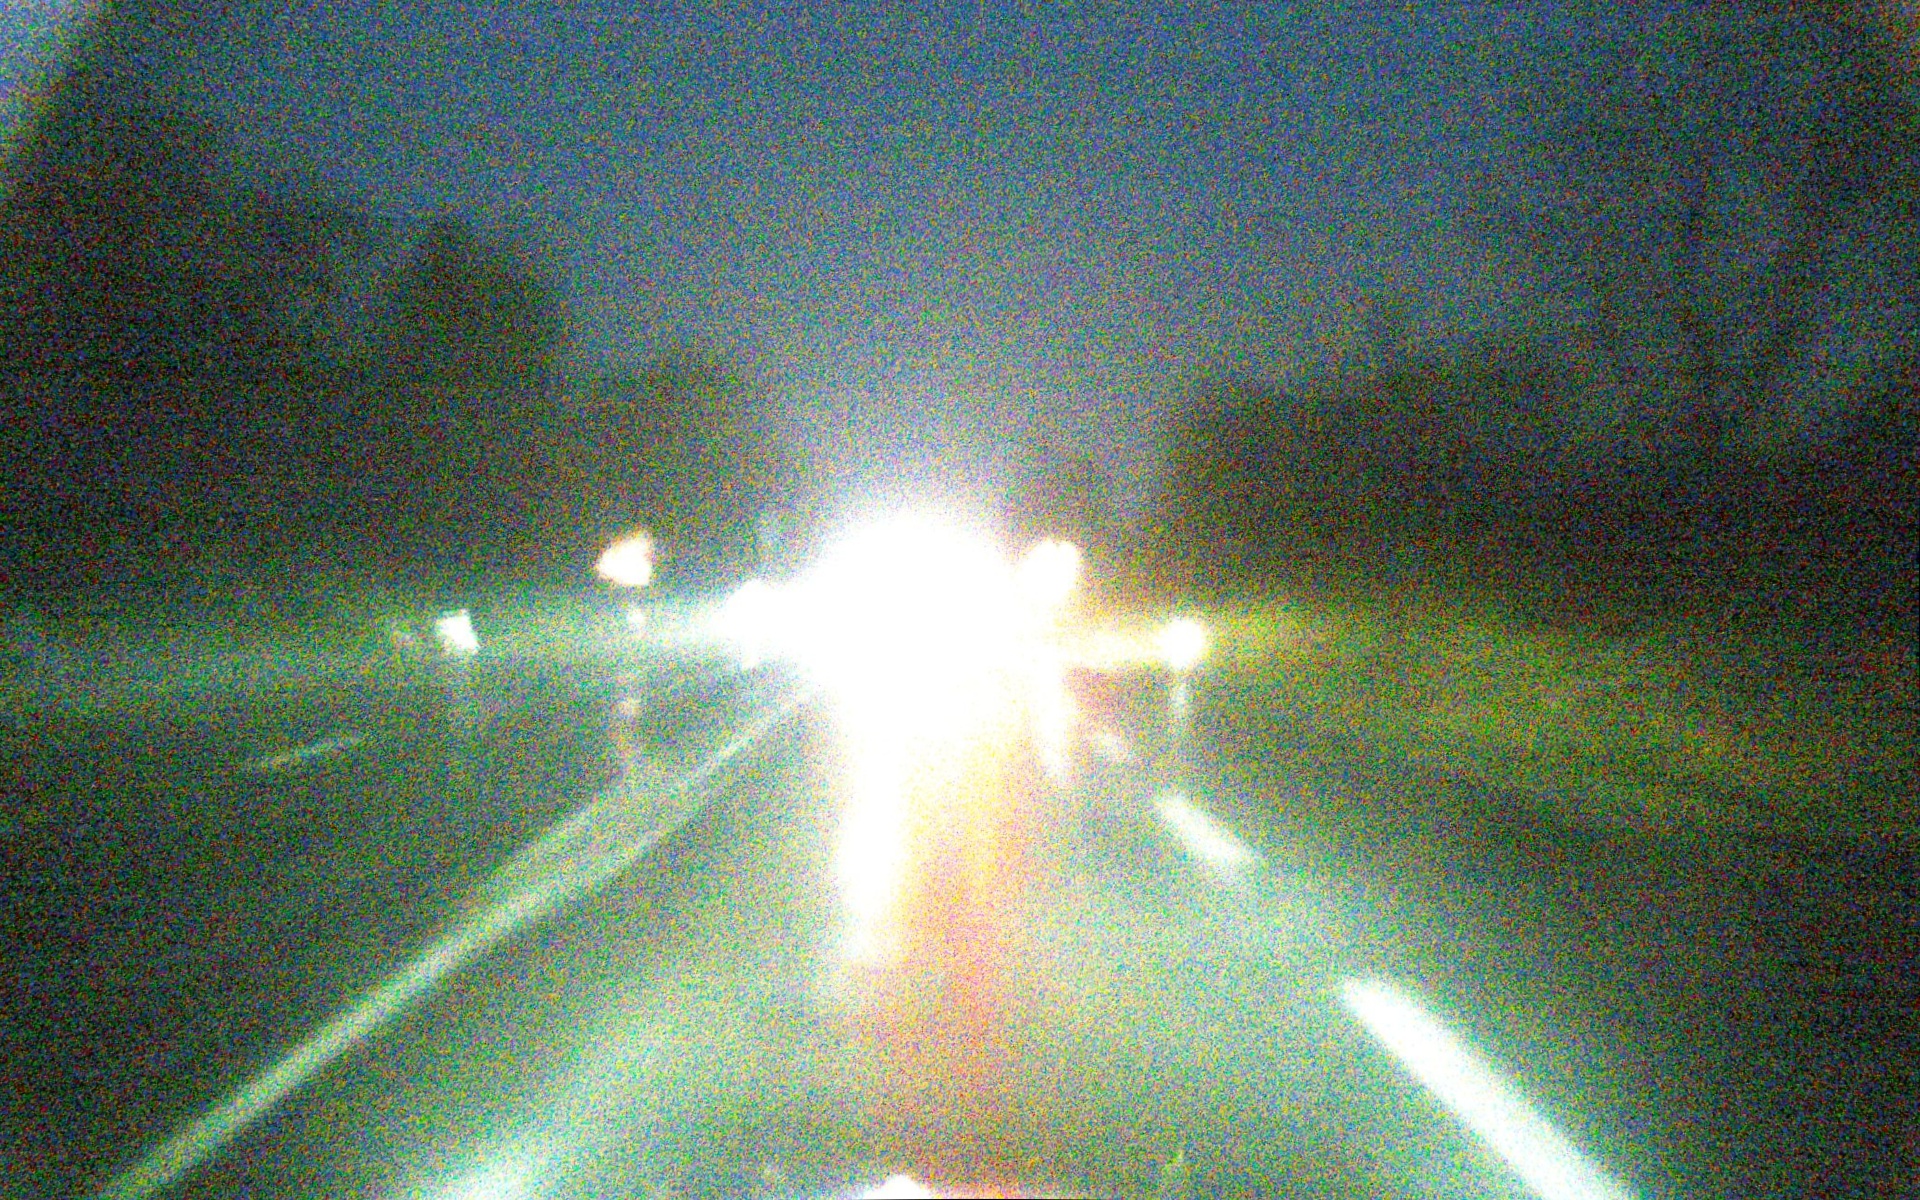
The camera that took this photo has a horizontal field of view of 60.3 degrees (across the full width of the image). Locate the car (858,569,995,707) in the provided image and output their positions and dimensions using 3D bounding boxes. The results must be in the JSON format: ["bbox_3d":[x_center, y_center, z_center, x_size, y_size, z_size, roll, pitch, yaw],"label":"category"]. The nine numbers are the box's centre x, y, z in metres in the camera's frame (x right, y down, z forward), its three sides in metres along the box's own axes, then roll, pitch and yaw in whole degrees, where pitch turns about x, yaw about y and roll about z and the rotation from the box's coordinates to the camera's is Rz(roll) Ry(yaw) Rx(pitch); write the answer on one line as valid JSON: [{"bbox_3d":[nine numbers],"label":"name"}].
[{"bbox_3d":[-0.591,0.570,27.147,2.051,2.049,3.998,1,0,-3],"label":"car"}]
